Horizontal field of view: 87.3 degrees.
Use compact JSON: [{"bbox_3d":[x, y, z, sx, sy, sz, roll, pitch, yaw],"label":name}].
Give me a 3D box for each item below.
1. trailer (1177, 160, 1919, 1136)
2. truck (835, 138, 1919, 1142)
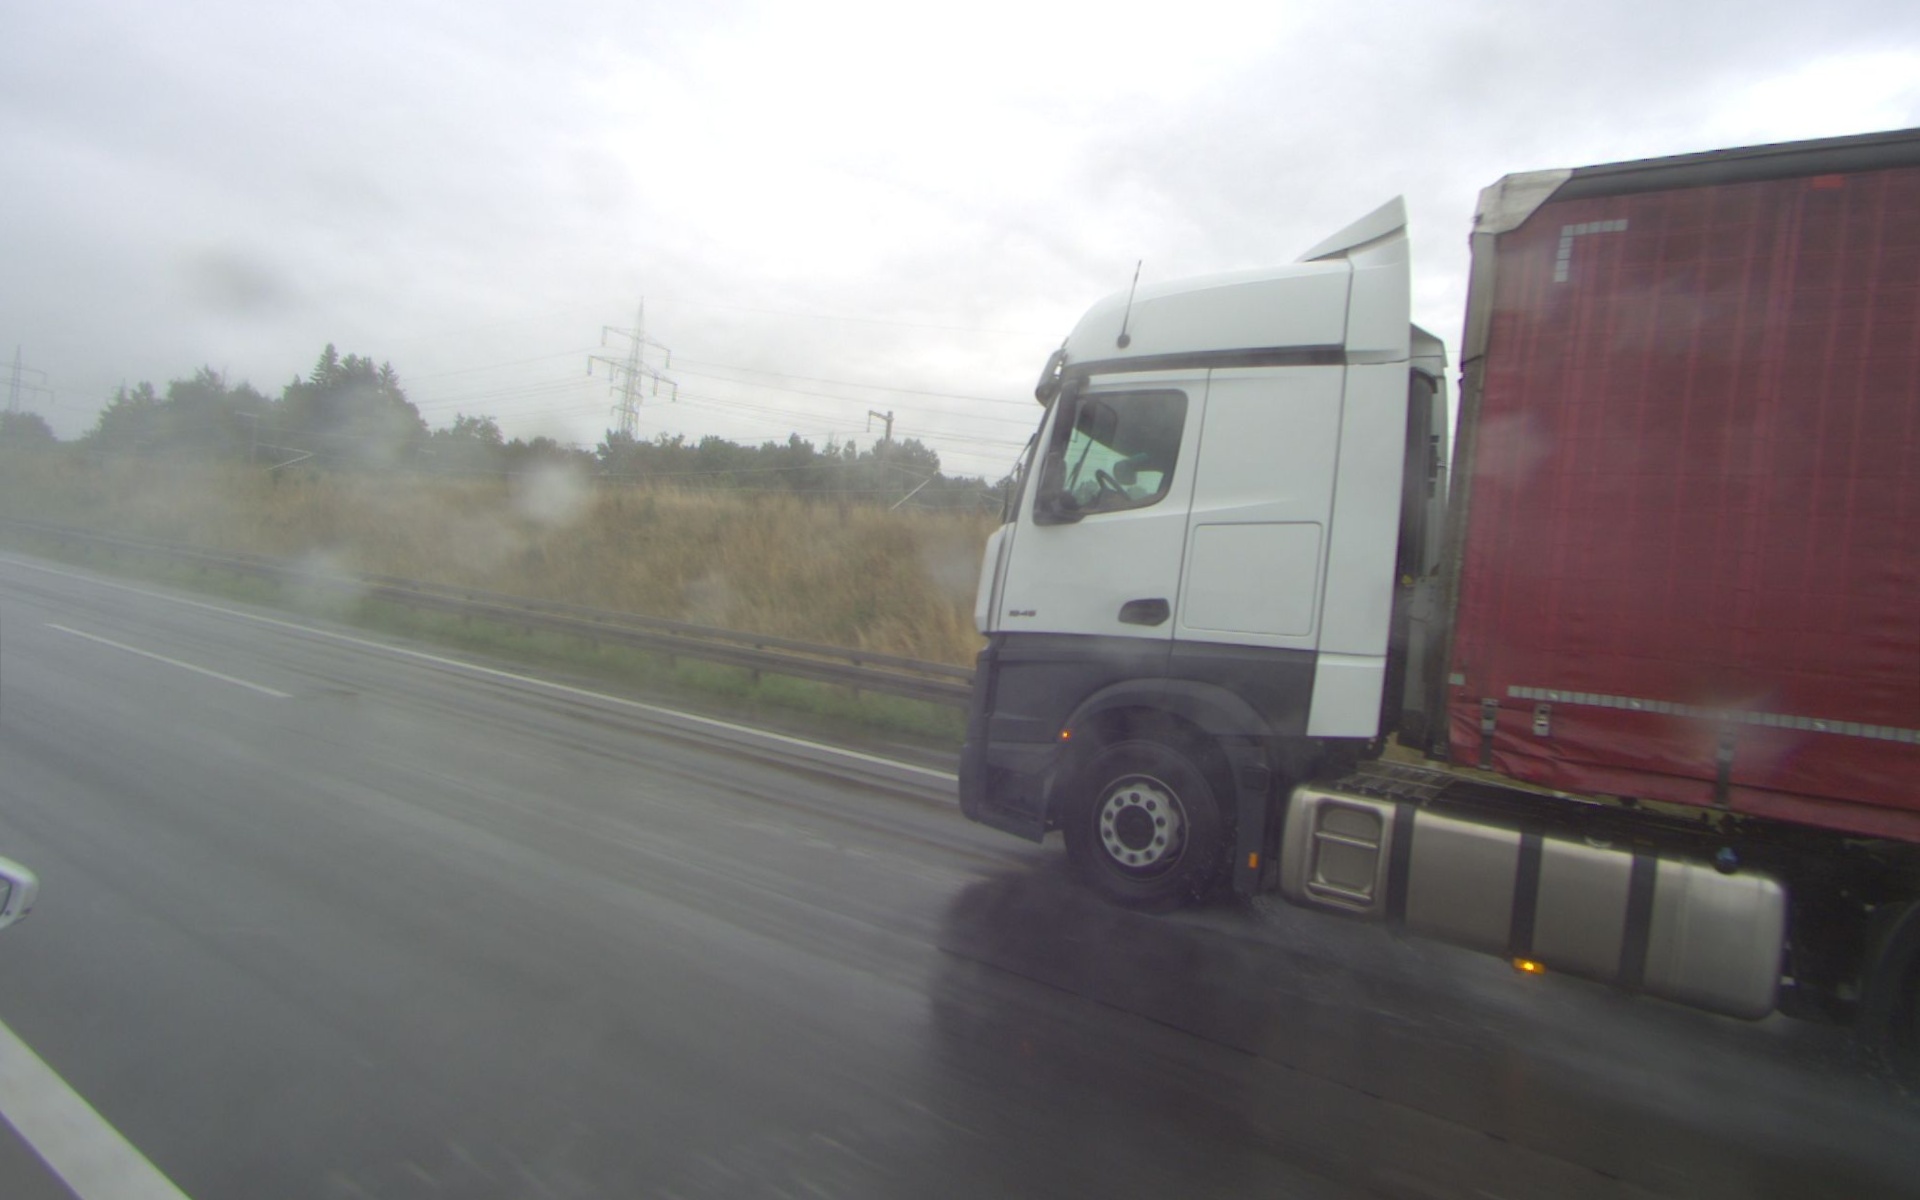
[{"bbox_3d":[8.941,0.773,2.273,16.267,3.810,2.485,6,-1,31],"label":"trailer"},{"bbox_3d":[2.618,0.027,6.102,6.096,3.935,2.456,6,-1,32],"label":"truck"}]
